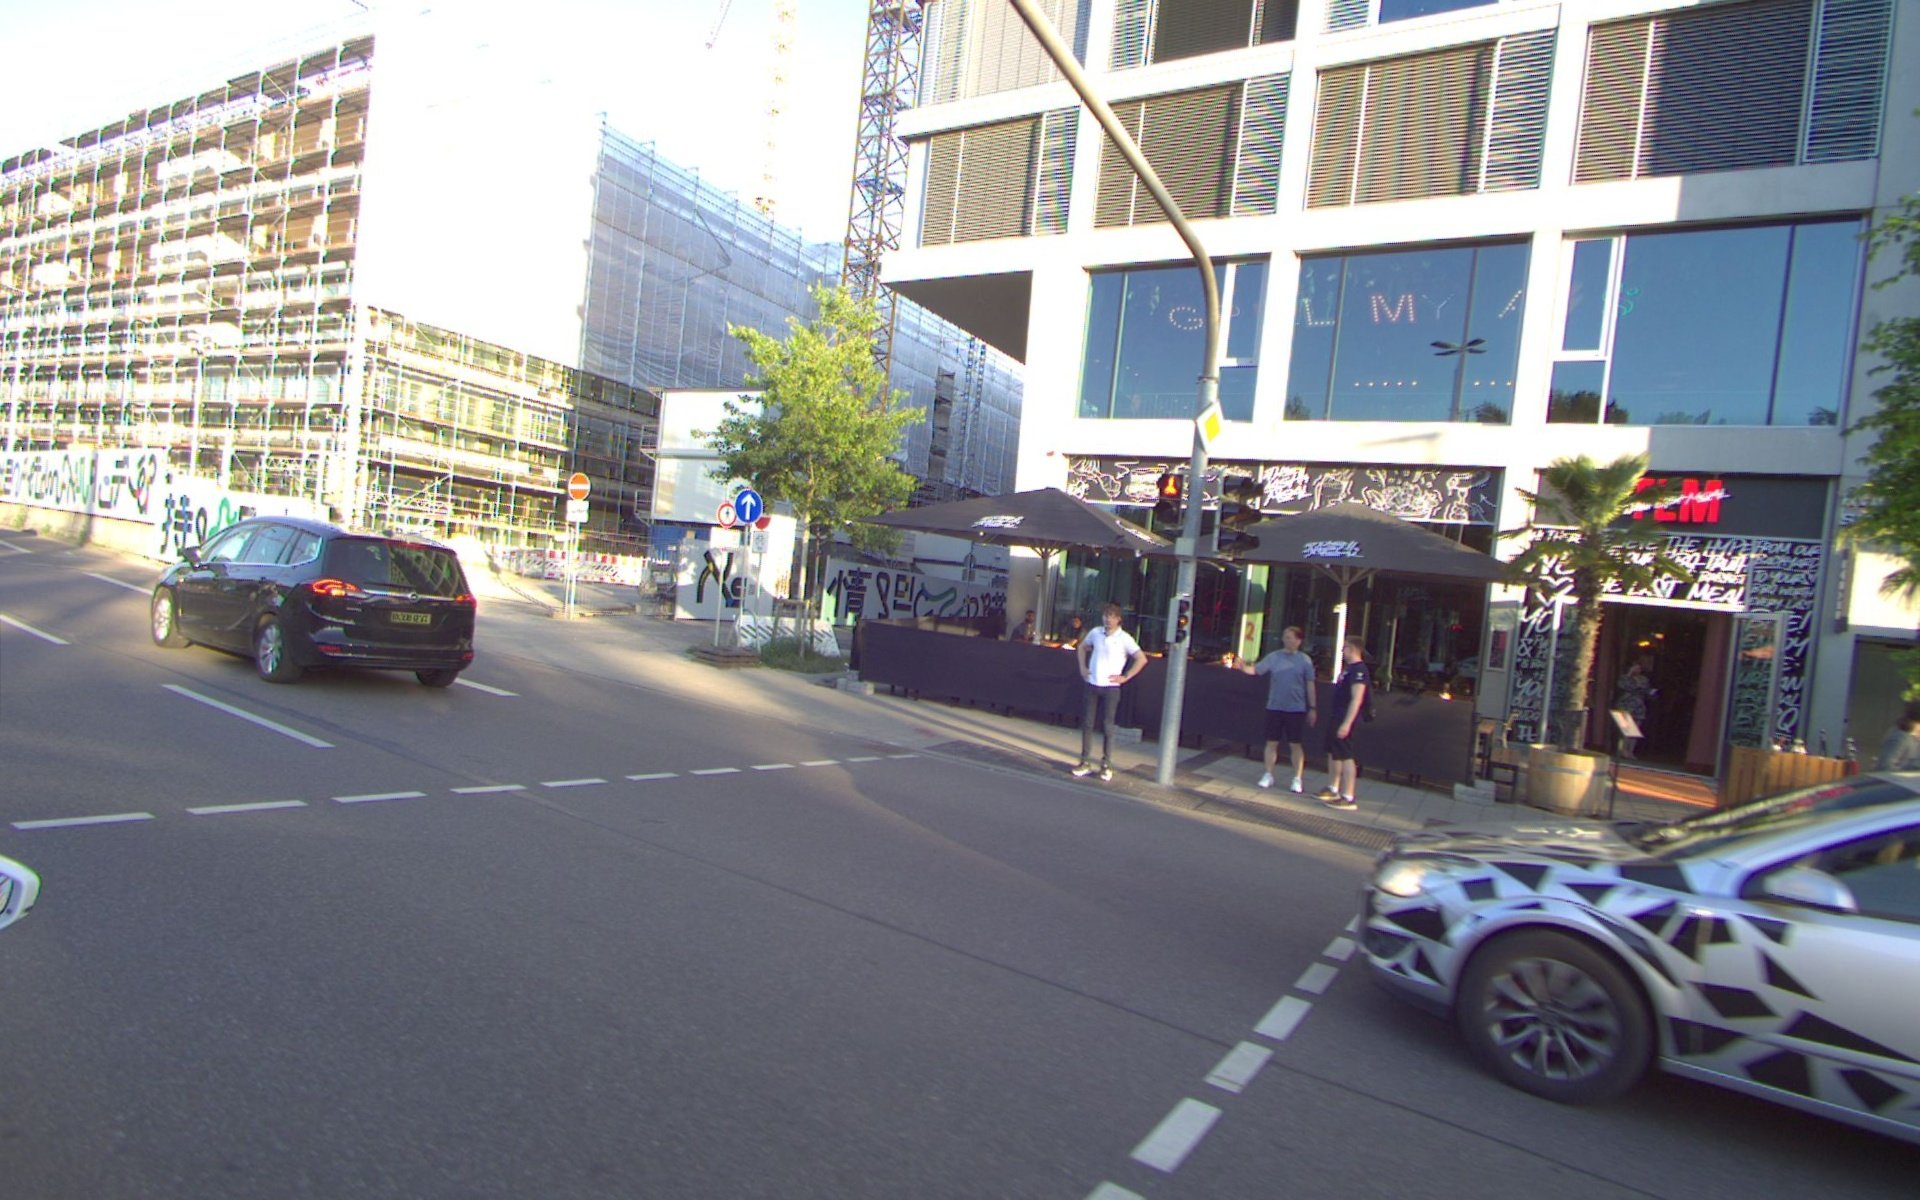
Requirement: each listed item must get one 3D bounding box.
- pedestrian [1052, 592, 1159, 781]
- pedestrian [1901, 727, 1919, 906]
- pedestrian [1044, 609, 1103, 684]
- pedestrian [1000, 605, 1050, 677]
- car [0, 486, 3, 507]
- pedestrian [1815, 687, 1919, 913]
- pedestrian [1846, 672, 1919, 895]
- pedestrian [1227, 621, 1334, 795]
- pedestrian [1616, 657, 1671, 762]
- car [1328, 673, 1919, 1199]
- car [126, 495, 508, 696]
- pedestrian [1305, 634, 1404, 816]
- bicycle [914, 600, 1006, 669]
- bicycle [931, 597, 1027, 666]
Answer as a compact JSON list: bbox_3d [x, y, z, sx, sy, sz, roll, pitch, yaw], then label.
[{"bbox_3d":[1.560,0.902,10.757,0.757,1.872,0.677,7,2,27],"label":"pedestrian"},{"bbox_3d":[8.609,1.706,8.431,0.815,1.810,0.576,6,3,33],"label":"pedestrian"},{"bbox_3d":[2.174,0.888,19.261,0.704,1.338,0.743,8,5,43],"label":"pedestrian"},{"bbox_3d":[1.279,0.794,19.778,0.610,1.338,0.613,2,5,-42],"label":"pedestrian"},{"bbox_3d":[-29.634,-2.780,29.212,4.718,1.537,1.821,7,-1,37],"label":"car"},{"bbox_3d":[7.846,1.650,8.455,0.567,1.726,0.855,7,3,21],"label":"pedestrian"},{"bbox_3d":[8.838,1.668,9.140,0.851,1.914,0.825,6,3,29],"label":"pedestrian"},{"bbox_3d":[3.509,1.151,11.012,0.678,1.759,0.756,9,5,42],"label":"pedestrian"},{"bbox_3d":[11.098,1.769,16.345,0.548,1.620,0.451,7,0,31],"label":"pedestrian"},{"bbox_3d":[3.867,1.344,3.807,4.232,1.481,1.831,7,-1,33],"label":"car"},{"bbox_3d":[-7.117,-0.091,11.010,4.296,1.618,1.825,7,-1,33],"label":"car"},{"bbox_3d":[4.054,1.245,10.322,0.677,1.725,0.654,7,4,29],"label":"pedestrian"},{"bbox_3d":[-0.010,0.704,20.619,1.717,1.225,0.587,6,-1,31],"label":"bicycle"},{"bbox_3d":[0.391,0.665,21.577,1.923,1.225,0.543,7,-1,32],"label":"bicycle"}]
